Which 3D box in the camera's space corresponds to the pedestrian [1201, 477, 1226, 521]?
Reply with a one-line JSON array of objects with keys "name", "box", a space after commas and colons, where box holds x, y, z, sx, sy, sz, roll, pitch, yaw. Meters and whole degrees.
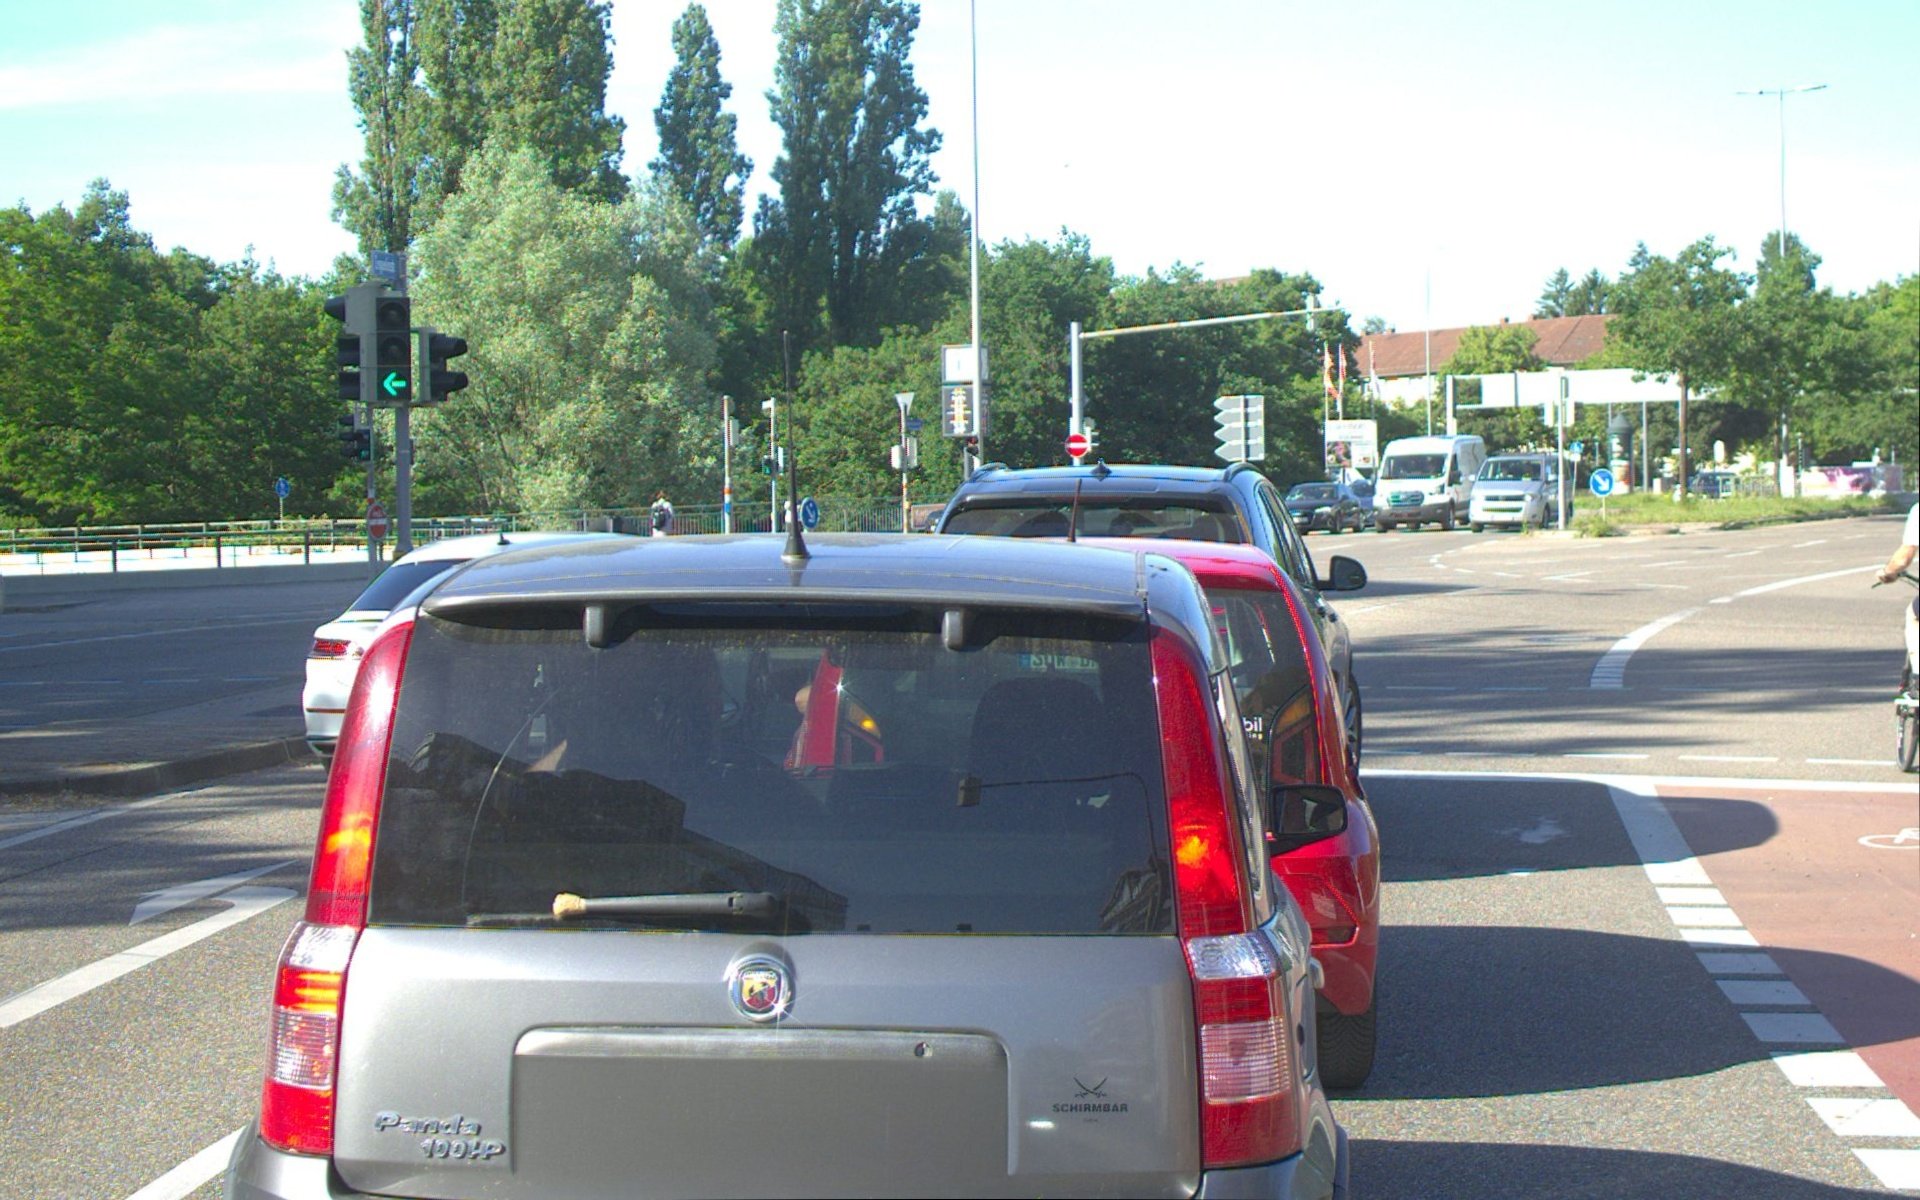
[{"name": "pedestrian", "box": [9.464, -3.762, 128.230, 0.721, 1.635, 0.671, 1, 0, 25]}]

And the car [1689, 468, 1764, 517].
[{"name": "car", "box": [26.138, -3.677, 117.156, 1.938, 1.616, 4.502, 0, 2, 20]}]

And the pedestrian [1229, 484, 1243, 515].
[{"name": "pedestrian", "box": [10.280, -3.751, 128.044, 0.424, 1.132, 0.397, 1, 0, 25]}]

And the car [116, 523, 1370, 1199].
[{"name": "car", "box": [-0.126, 0.652, 6.345, 1.618, 1.510, 3.819, -1, 2, 5]}]

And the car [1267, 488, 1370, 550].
[{"name": "car", "box": [9.591, -2.170, 91.761, 1.938, 1.502, 3.997, -2, 2, 17]}]

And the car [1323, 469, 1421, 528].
[{"name": "car", "box": [11.827, -2.925, 98.351, 1.812, 1.536, 4.613, -2, 2, 19]}]

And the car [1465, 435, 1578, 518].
[{"name": "car", "box": [14.206, -3.132, 86.766, 1.938, 2.001, 4.927, 0, 2, 20]}]

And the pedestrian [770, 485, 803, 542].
[{"name": "pedestrian", "box": [-4.815, -2.397, 95.280, 0.709, 1.542, 0.729, -2, 0, -16]}]

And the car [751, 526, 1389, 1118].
[{"name": "car", "box": [0.435, 0.537, 10.690, 1.618, 1.458, 3.750, -1, 2, 5]}]

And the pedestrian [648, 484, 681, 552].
[{"name": "pedestrian", "box": [-6.442, -1.788, 74.861, 0.679, 1.458, 0.703, -1, 2, -6]}]

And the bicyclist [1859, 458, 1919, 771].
[{"name": "bicyclist", "box": [5.338, 0.057, 18.649, 0.724, 1.654, 1.113, 0, 2, 6]}]

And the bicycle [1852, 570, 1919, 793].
[{"name": "bicycle", "box": [5.343, 0.419, 18.693, 0.691, 1.098, 1.826, 0, 2, 6]}]

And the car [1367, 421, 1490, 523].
[{"name": "car", "box": [12.409, -3.397, 90.752, 1.938, 2.567, 6.083, 0, 2, 20]}]

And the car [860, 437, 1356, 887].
[{"name": "car", "box": [0.838, 0.189, 16.185, 1.946, 1.833, 4.152, -1, 2, 8]}]

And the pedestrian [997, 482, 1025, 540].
[{"name": "pedestrian", "box": [1.385, -2.409, 93.083, 0.556, 1.542, 0.576, -2, 1, -16]}]

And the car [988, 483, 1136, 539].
[{"name": "car", "box": [3.046, -2.652, 101.965, 4.317, 1.530, 1.784, -3, 4, -41]}]

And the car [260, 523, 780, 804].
[{"name": "car", "box": [-2.442, 0.284, 20.233, 1.781, 1.410, 4.317, 0, 2, 11]}]

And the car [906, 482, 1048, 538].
[{"name": "car", "box": [0.530, -2.712, 104.399, 3.988, 1.619, 1.900, 0, 1, -38]}]

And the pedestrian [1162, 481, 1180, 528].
[{"name": "pedestrian", "box": [7.626, -3.447, 124.224, 0.499, 1.696, 0.499, 1, 0, 24]}]

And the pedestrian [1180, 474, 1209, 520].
[{"name": "pedestrian", "box": [8.448, -3.709, 123.861, 0.791, 1.658, 0.628, 1, 1, 40]}]
